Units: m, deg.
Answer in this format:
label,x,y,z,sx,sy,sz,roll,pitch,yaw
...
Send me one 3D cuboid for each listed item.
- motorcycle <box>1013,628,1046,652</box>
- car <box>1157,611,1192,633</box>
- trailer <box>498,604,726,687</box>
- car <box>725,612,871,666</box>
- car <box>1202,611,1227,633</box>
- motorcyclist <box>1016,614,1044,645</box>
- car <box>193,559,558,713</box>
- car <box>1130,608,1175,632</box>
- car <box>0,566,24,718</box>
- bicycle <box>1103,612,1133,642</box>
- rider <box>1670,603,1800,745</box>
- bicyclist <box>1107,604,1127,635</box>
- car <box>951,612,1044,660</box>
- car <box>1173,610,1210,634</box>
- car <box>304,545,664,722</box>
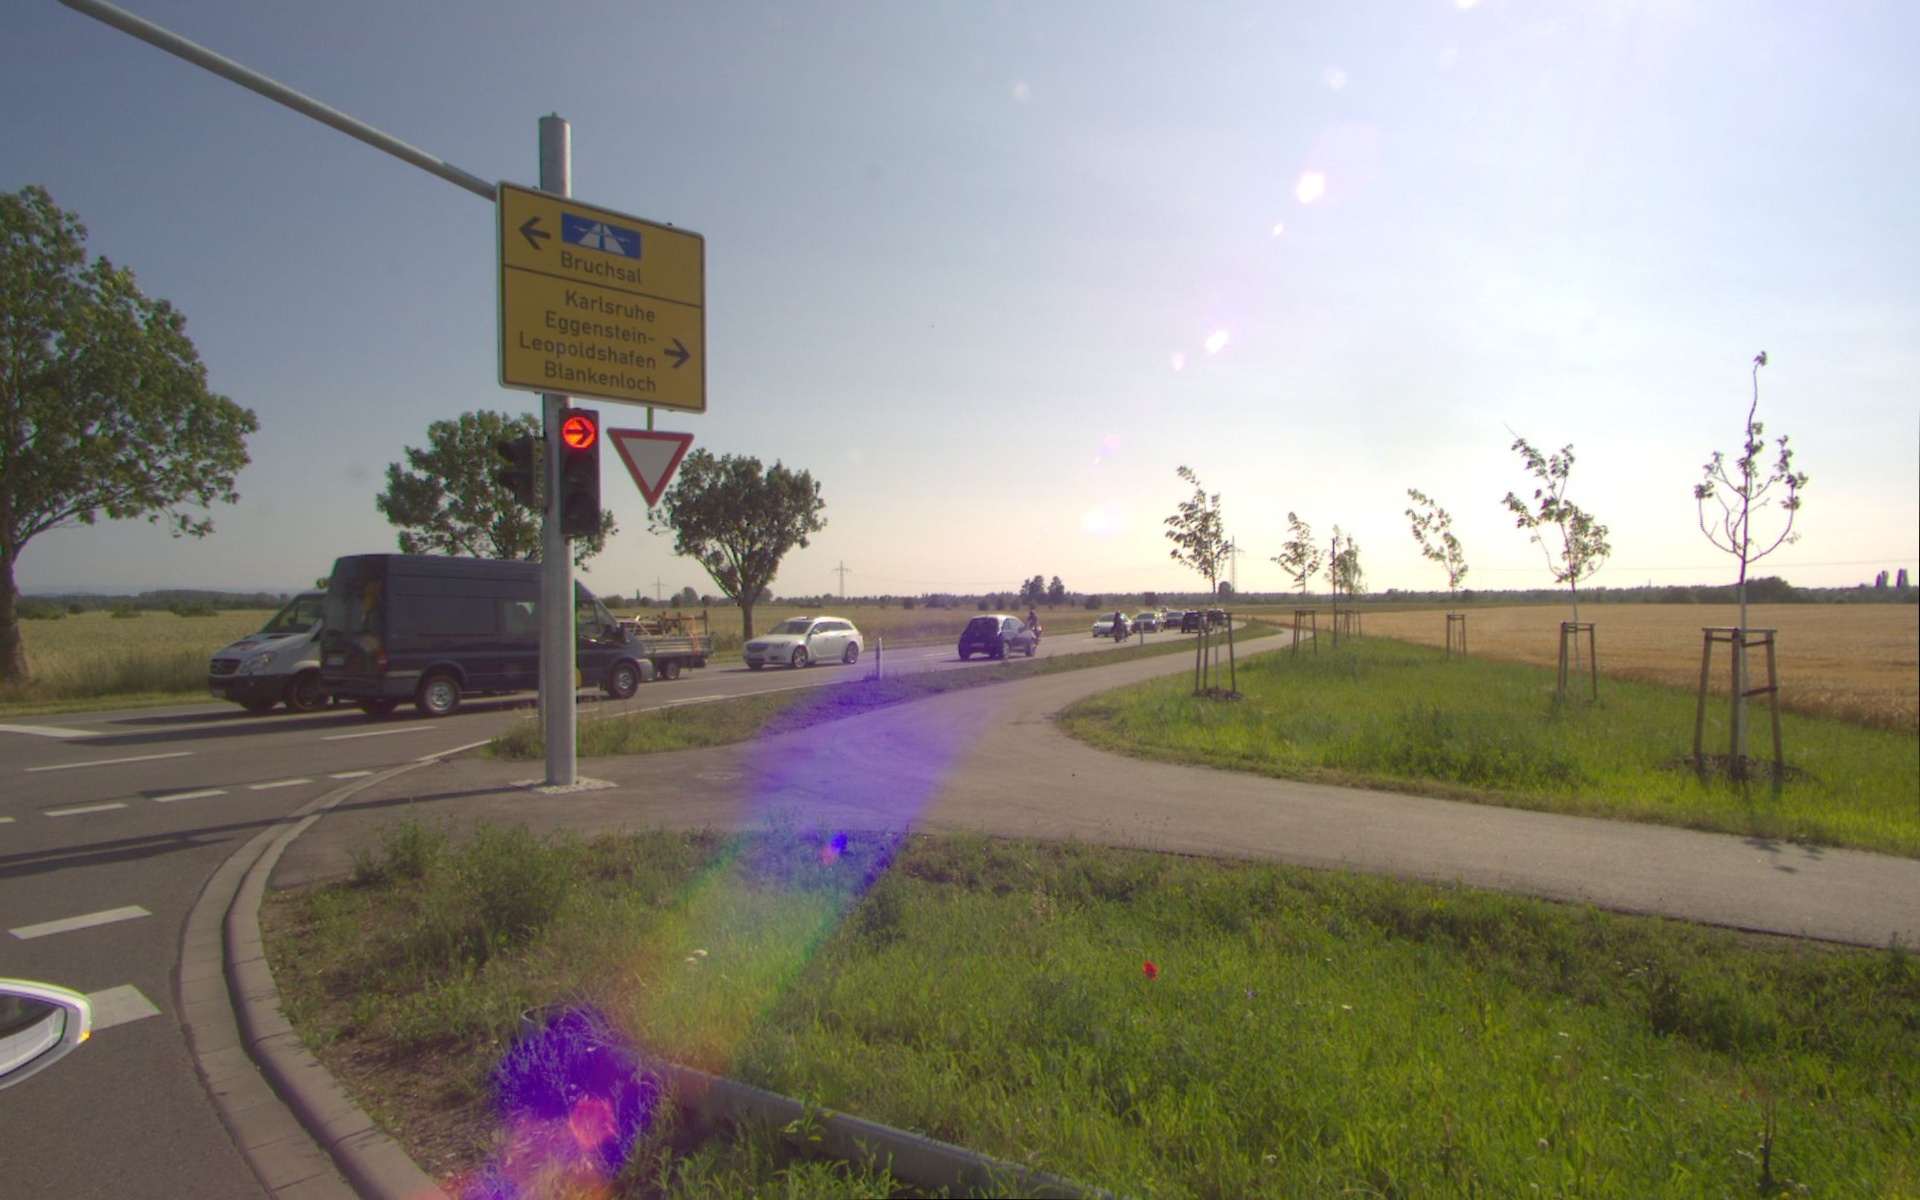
label,x,y,z,sx,sy,sz,roll,pitch,yaw
motorcycle,3.379,1.912,48.333,0.836,1.133,2.140,0,-2,26
car,17.876,1.831,83.374,1.967,1.712,4.873,-1,-2,23
trailer,-8.251,1.014,24.310,1.925,1.776,5.254,-1,-1,30
car,-4.893,1.202,30.962,1.969,1.529,4.868,-2,-2,27
car,21.126,1.841,83.003,1.732,1.689,3.963,-1,-2,18
motorcyclist,3.383,1.415,48.333,1.013,1.479,1.067,0,-1,27
car,-10.997,0.648,19.492,1.970,2.525,5.949,-1,-1,30
car,14.159,1.509,73.438,1.990,1.609,4.868,-1,-2,27
car,-18.719,0.667,15.386,2.355,2.610,5.892,-1,-2,26
bicycle,7.825,1.326,49.590,0.721,1.415,2.489,-1,0,27
rider,9.573,0.884,12.391,0.973,1.665,0.820,0,1,-17
bicyclist,7.742,0.975,49.475,0.746,1.508,0.808,-1,-2,28
car,1.352,1.207,34.494,1.703,1.476,3.721,0,1,30
car,16.080,1.465,69.361,1.889,1.539,4.677,1,0,21
car,-8.210,0.527,18.021,2.003,2.657,5.724,0,0,30
